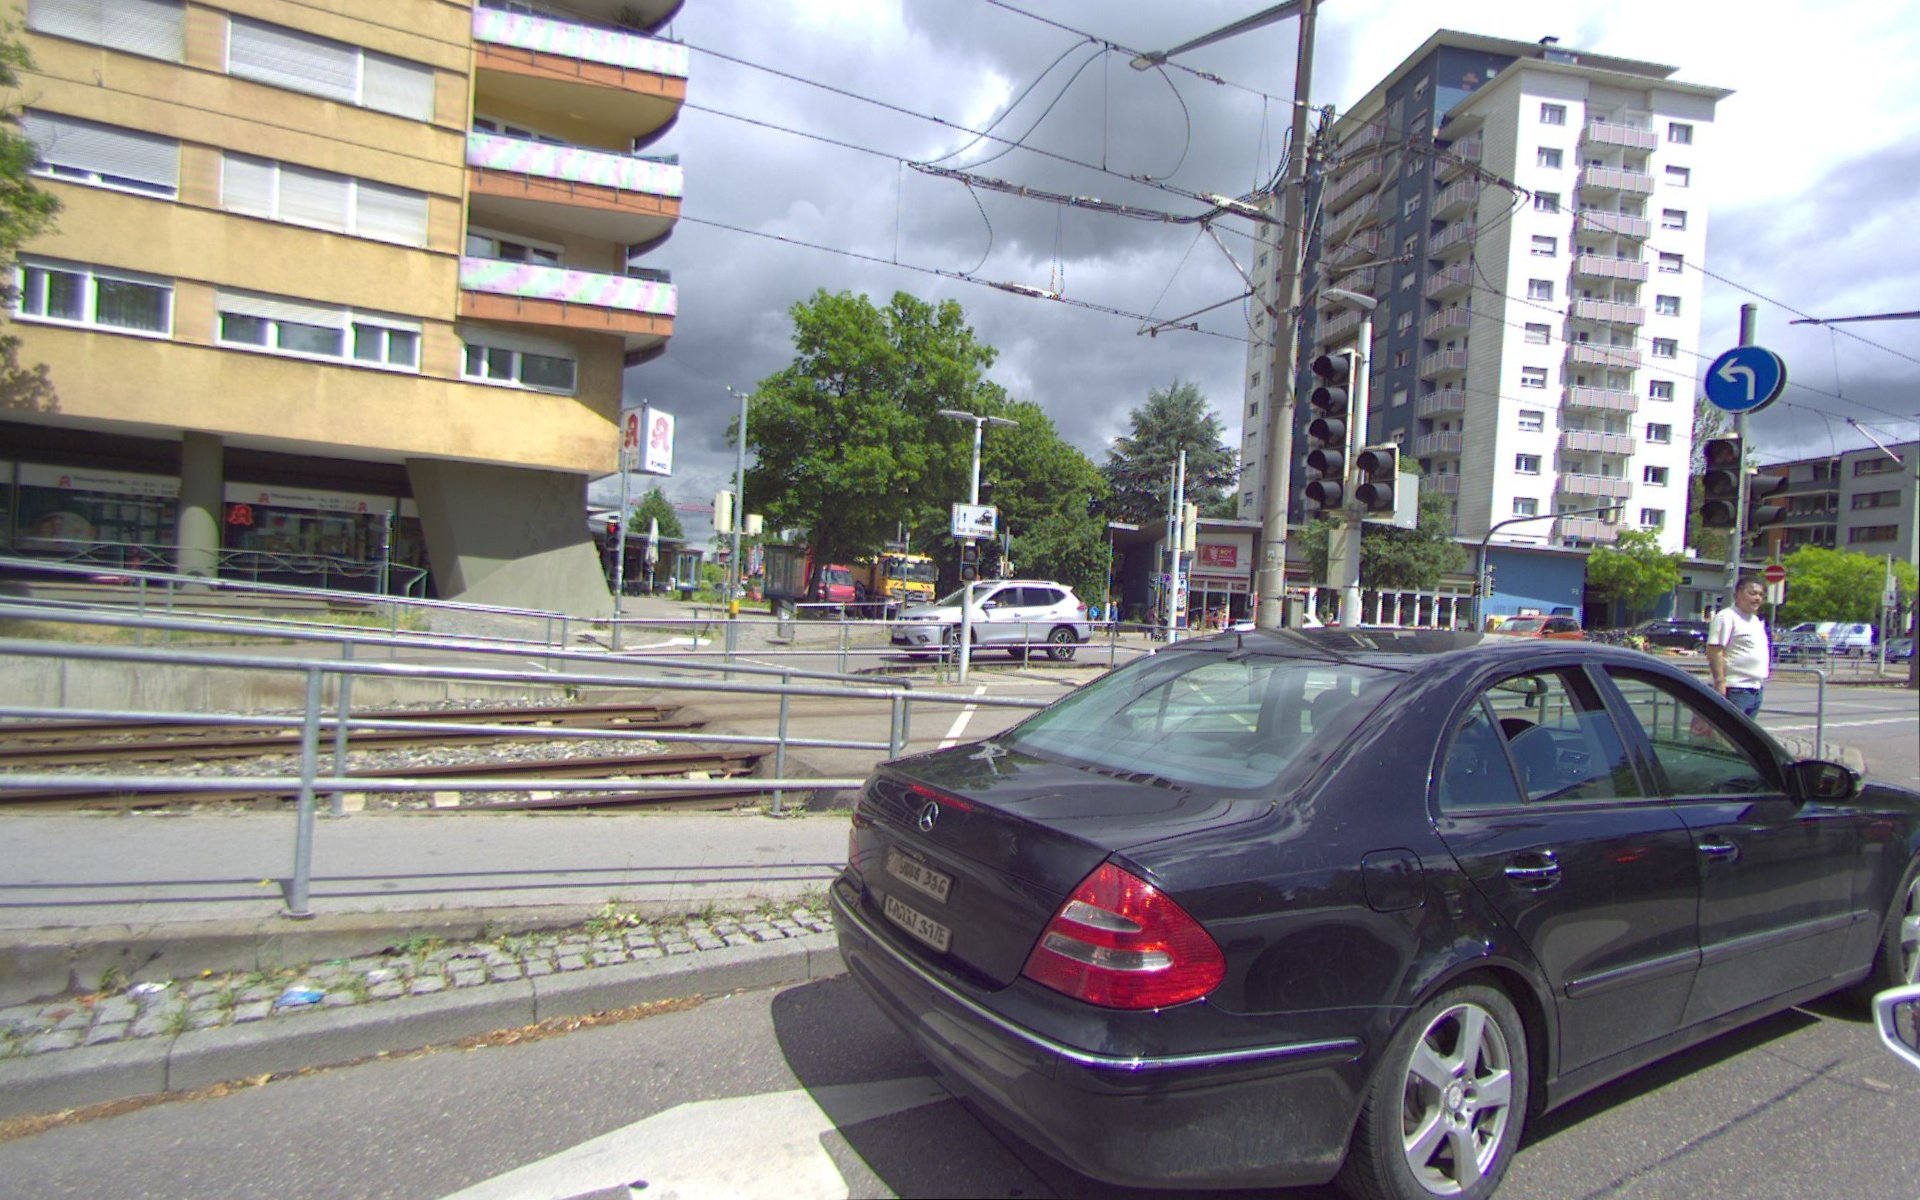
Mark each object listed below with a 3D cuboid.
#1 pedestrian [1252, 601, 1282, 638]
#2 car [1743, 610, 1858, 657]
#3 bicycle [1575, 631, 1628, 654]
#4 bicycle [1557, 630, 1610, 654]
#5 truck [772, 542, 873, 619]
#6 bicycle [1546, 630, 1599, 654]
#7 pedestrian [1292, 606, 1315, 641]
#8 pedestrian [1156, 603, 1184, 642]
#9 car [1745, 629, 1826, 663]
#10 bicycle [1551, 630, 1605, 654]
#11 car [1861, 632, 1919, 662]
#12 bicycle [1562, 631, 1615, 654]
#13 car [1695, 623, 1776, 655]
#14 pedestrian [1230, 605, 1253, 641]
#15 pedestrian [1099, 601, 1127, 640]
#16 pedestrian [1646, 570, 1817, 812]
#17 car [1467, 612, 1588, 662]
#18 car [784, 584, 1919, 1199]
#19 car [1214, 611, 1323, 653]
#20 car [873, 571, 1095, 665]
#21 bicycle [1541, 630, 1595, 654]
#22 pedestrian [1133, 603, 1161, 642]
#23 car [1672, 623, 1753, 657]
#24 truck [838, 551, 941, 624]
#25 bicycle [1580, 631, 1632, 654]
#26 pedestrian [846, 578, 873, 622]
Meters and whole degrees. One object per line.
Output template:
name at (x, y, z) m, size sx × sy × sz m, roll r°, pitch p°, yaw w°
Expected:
pedestrian at (16.289, 1.031, 53.272) m, size 1.200 × 1.942 × 0.860 m, roll 1°, pitch 1°, yaw -30°
car at (49.794, 1.897, 59.760) m, size 2.776 × 2.512 × 6.724 m, roll 2°, pitch 0°, yaw 17°
bicycle at (28.494, 1.891, 44.658) m, size 0.490 × 0.947 × 1.934 m, roll 2°, pitch 0°, yaw -35°
bicycle at (27.416, 1.855, 44.226) m, size 0.490 × 0.947 × 1.934 m, roll 2°, pitch 0°, yaw -35°
truck at (-6.853, -0.898, 48.781) m, size 2.692 × 3.320 × 8.877 m, roll 1°, pitch 0°, yaw -22°
bicycle at (26.619, 1.828, 43.666) m, size 0.490 × 0.947 × 1.934 m, roll 2°, pitch 0°, yaw -35°
pedestrian at (16.111, 1.100, 47.122) m, size 0.693 × 1.637 × 0.760 m, roll 1°, pitch 1°, yaw -43°
pedestrian at (9.356, 1.014, 44.834) m, size 0.977 × 1.681 × 0.969 m, roll 2°, pitch -1°, yaw -4°
car at (37.976, 2.086, 46.177) m, size 4.206 × 1.433 × 1.620 m, roll 1°, pitch 0°, yaw -32°
bicycle at (27.030, 1.842, 43.954) m, size 0.490 × 0.947 × 1.934 m, roll 2°, pitch 0°, yaw -35°
car at (48.851, 2.453, 52.357) m, size 4.445 × 1.418 × 1.625 m, roll 2°, pitch 0°, yaw -33°
bicycle at (27.856, 1.871, 44.524) m, size 0.490 × 0.947 × 1.934 m, roll 2°, pitch 0°, yaw -35°
car at (42.785, 2.102, 55.536) m, size 1.921 × 1.558 × 4.220 m, roll 2°, pitch 0°, yaw 13°
pedestrian at (13.402, 1.090, 47.828) m, size 0.690 × 1.637 × 0.764 m, roll 1°, pitch 0°, yaw -29°
pedestrian at (6.895, 0.926, 45.346) m, size 0.772 × 1.636 × 0.759 m, roll 6°, pitch 1°, yaw -31°
pedestrian at (6.234, 0.685, 8.134) m, size 0.734 × 1.832 × 0.863 m, roll 1°, pitch 1°, yaw -33°
car at (19.994, 1.297, 35.334) m, size 4.415 × 1.656 × 1.981 m, roll 1°, pitch -1°, yaw -35°
car at (1.793, 0.755, 3.704) m, size 4.490 × 1.481 × 1.720 m, roll 2°, pitch 0°, yaw -30°
car at (11.917, 1.227, 38.836) m, size 3.921 × 1.416 × 1.698 m, roll 2°, pitch 0°, yaw 19°
car at (0.565, 0.409, 21.655) m, size 4.462 × 1.825 × 1.982 m, roll 2°, pitch -1°, yaw -33°
bicycle at (26.241, 1.815, 43.397) m, size 0.490 × 0.947 × 1.934 m, roll 2°, pitch 0°, yaw -35°
pedestrian at (8.287, 0.980, 44.659) m, size 0.977 × 1.681 × 0.969 m, roll 2°, pitch -1°, yaw -4°
car at (40.156, 2.115, 53.713) m, size 1.921 × 1.591 × 4.220 m, roll 2°, pitch 0°, yaw 13°
truck at (-3.600, -0.613, 49.205) m, size 2.733 × 3.244 × 7.443 m, roll 1°, pitch 0°, yaw -23°
bicycle at (28.890, 1.905, 44.941) m, size 0.490 × 0.947 × 1.934 m, roll 2°, pitch 0°, yaw -35°
pedestrian at (-3.824, -0.004, 38.281) m, size 0.770 × 1.638 × 0.759 m, roll -1°, pitch 5°, yaw -29°
